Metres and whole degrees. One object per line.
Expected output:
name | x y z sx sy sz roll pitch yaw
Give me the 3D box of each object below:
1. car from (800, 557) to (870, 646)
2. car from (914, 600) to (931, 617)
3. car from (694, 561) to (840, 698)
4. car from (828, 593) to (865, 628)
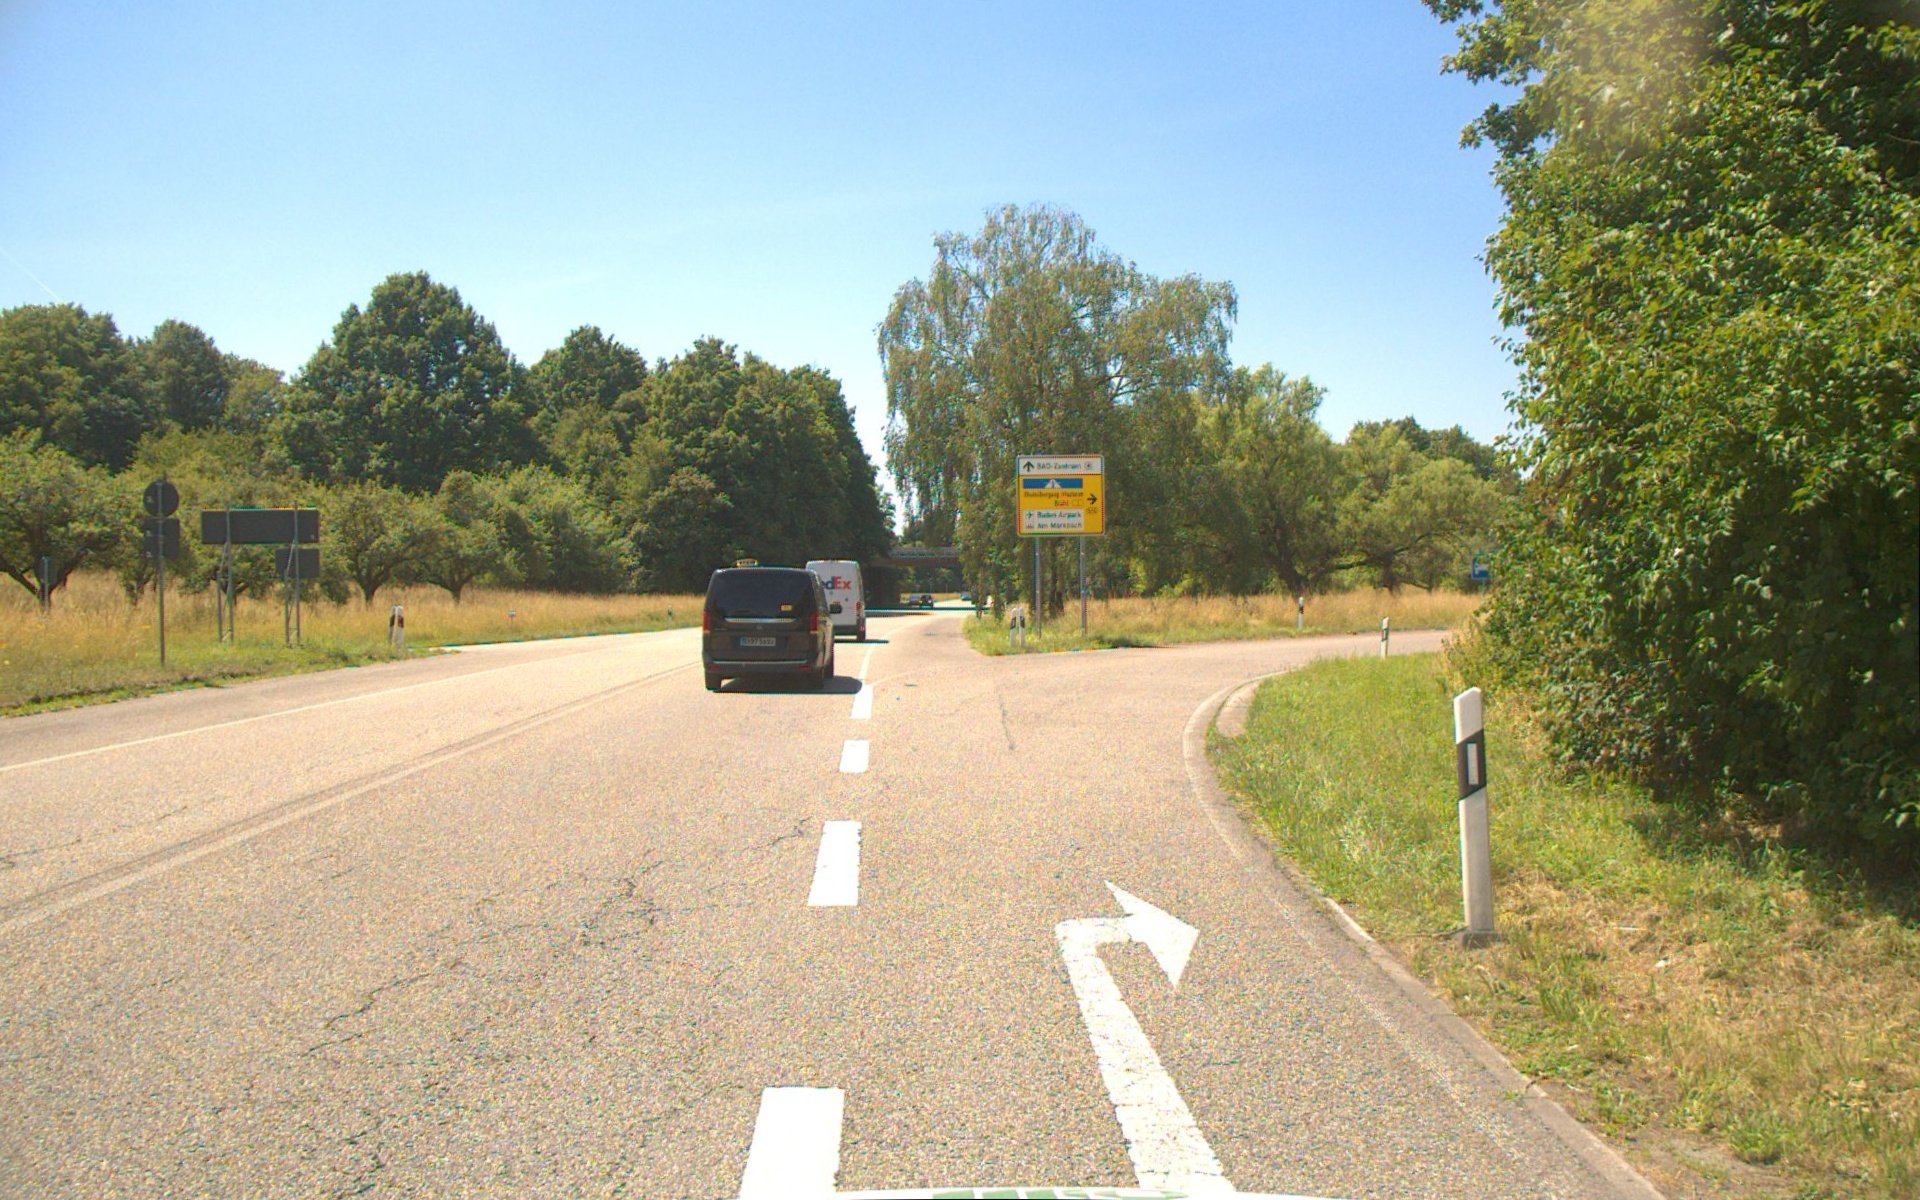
car | -4.061 0.035 54.476 2.036 2.750 4.664 1 0 -2
car | -4.614 1.010 204.963 1.953 2.049 3.998 2 0 -2
car | -3.027 0.436 26.957 1.954 1.987 5.002 1 0 -3
car | -7.005 0.611 102.332 1.953 2.049 4.000 2 0 0
